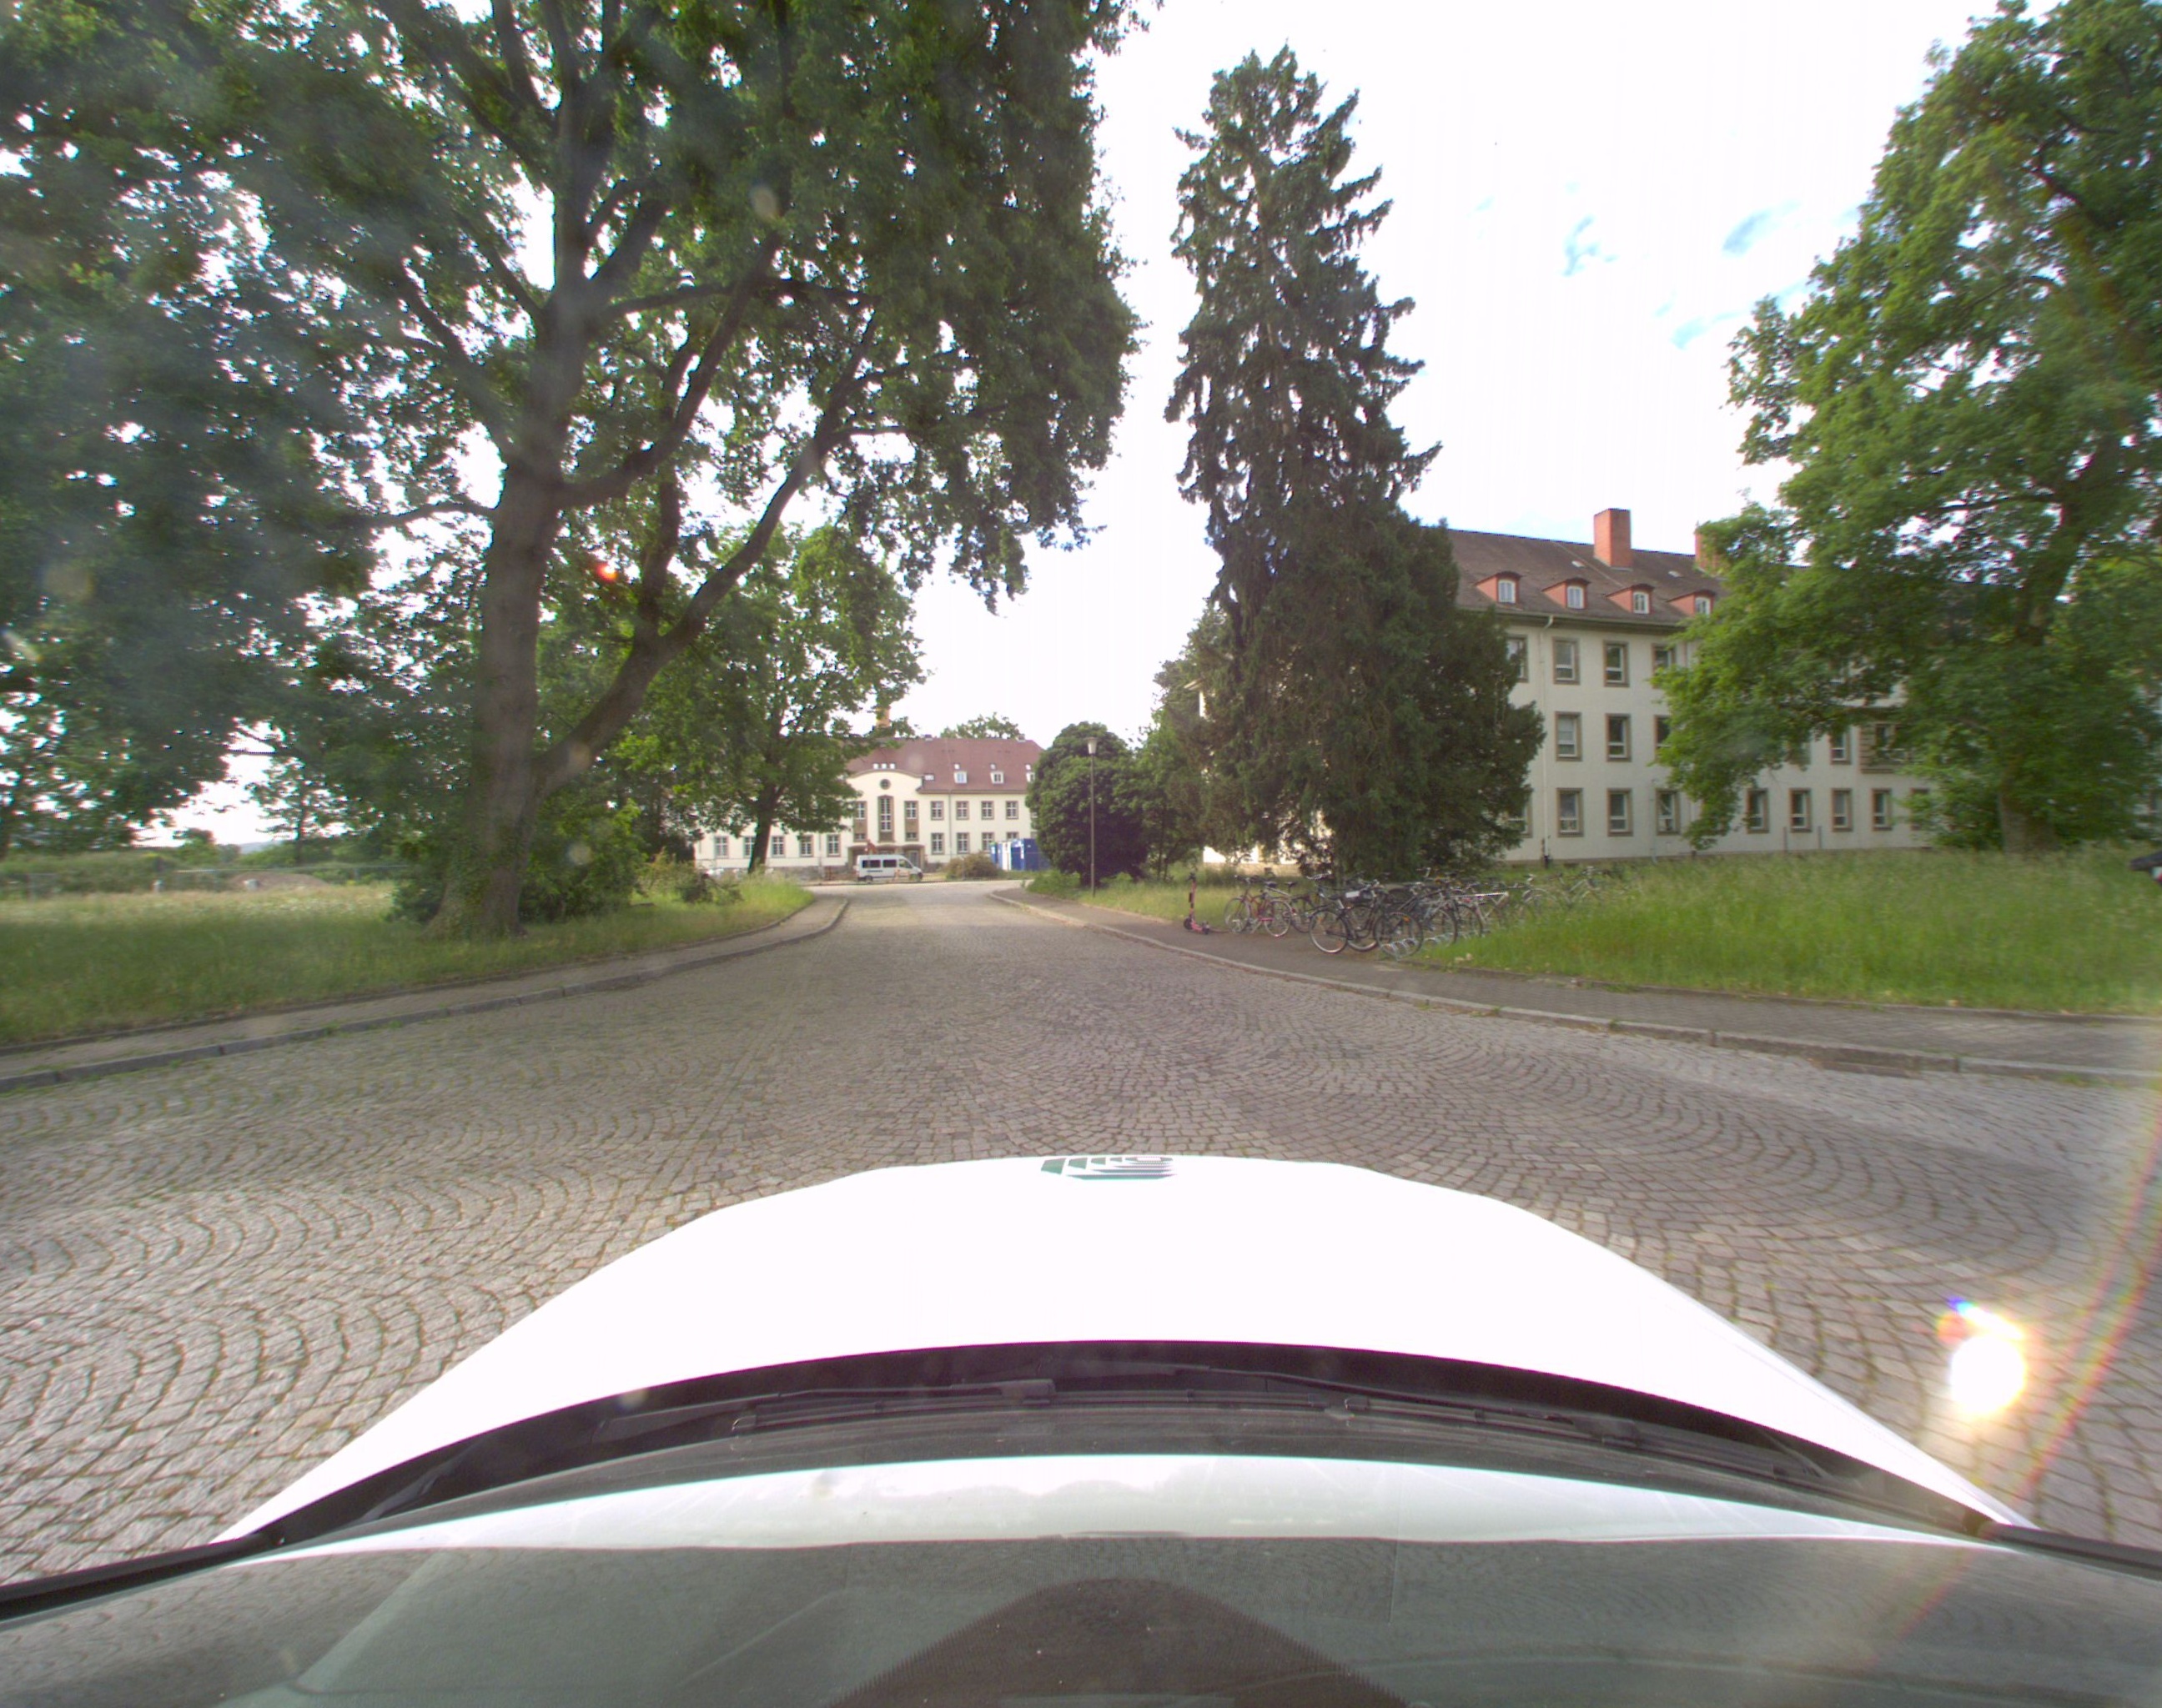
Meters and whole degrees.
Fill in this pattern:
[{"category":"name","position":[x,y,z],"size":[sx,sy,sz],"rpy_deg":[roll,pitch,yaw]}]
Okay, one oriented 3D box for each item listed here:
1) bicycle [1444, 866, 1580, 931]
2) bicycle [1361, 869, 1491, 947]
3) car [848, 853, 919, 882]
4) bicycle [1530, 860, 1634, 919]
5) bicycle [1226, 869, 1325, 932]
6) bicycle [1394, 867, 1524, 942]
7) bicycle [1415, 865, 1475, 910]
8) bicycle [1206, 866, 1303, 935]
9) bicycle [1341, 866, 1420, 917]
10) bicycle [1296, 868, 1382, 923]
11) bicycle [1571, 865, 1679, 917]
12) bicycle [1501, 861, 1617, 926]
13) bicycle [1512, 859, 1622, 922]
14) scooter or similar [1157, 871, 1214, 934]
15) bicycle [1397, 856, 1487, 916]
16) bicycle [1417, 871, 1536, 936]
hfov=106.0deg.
[{"category":"bicycle","position":[7.438,0.758,14.155],"size":[0.689,1.005,1.939],"rpy_deg":[-4,0,-33]},{"category":"bicycle","position":[5.460,0.837,12.999],"size":[0.705,1.103,1.755],"rpy_deg":[-4,0,-33]},{"category":"car","position":[-16.114,1.067,66.544],"size":[5.523,2.207,2.116],"rpy_deg":[-1,2,-15]},{"category":"bicycle","position":[9.735,0.689,15.872],"size":[0.529,1.059,1.604],"rpy_deg":[-4,0,-33]},{"category":"bicycle","position":[3.849,0.893,16.265],"size":[0.646,1.114,1.971],"rpy_deg":[-4,2,-33]},{"category":"bicycle","position":[6.132,0.799,13.306],"size":[0.705,1.103,1.780],"rpy_deg":[-4,0,-33]},{"category":"bicycle","position":[8.623,0.798,19.316],"size":[0.435,1.029,1.250],"rpy_deg":[1,-3,-33]},{"category":"bicycle","position":[3.334,0.862,15.824],"size":[0.646,1.222,1.881],"rpy_deg":[-4,2,-33]},{"category":"bicycle","position":[6.545,0.816,17.845],"size":[0.548,1.035,1.497],"rpy_deg":[-4,2,-44]},{"category":"bicycle","position":[5.360,0.843,16.971],"size":[0.543,1.073,1.609],"rpy_deg":[-4,2,-44]},{"category":"bicycle","position":[10.463,0.708,15.719],"size":[0.529,0.911,1.604],"rpy_deg":[-4,0,-33]},{"category":"bicycle","position":[8.876,0.731,15.190],"size":[0.544,1.105,1.758],"rpy_deg":[-4,0,-33]},{"category":"bicycle","position":[9.265,0.691,15.596],"size":[0.544,1.116,1.684],"rpy_deg":[-4,0,-33]},{"category":"scooter or similar","position":[2.118,0.965,16.690],"size":[0.680,1.195,1.547],"rpy_deg":[-2,0,-11]},{"category":"bicycle","position":[7.748,0.672,17.528],"size":[0.577,1.185,1.625],"rpy_deg":[-4,2,-40]},{"category":"bicycle","position":[6.675,0.817,13.815],"size":[0.635,1.001,1.679],"rpy_deg":[-4,0,-33]}]
